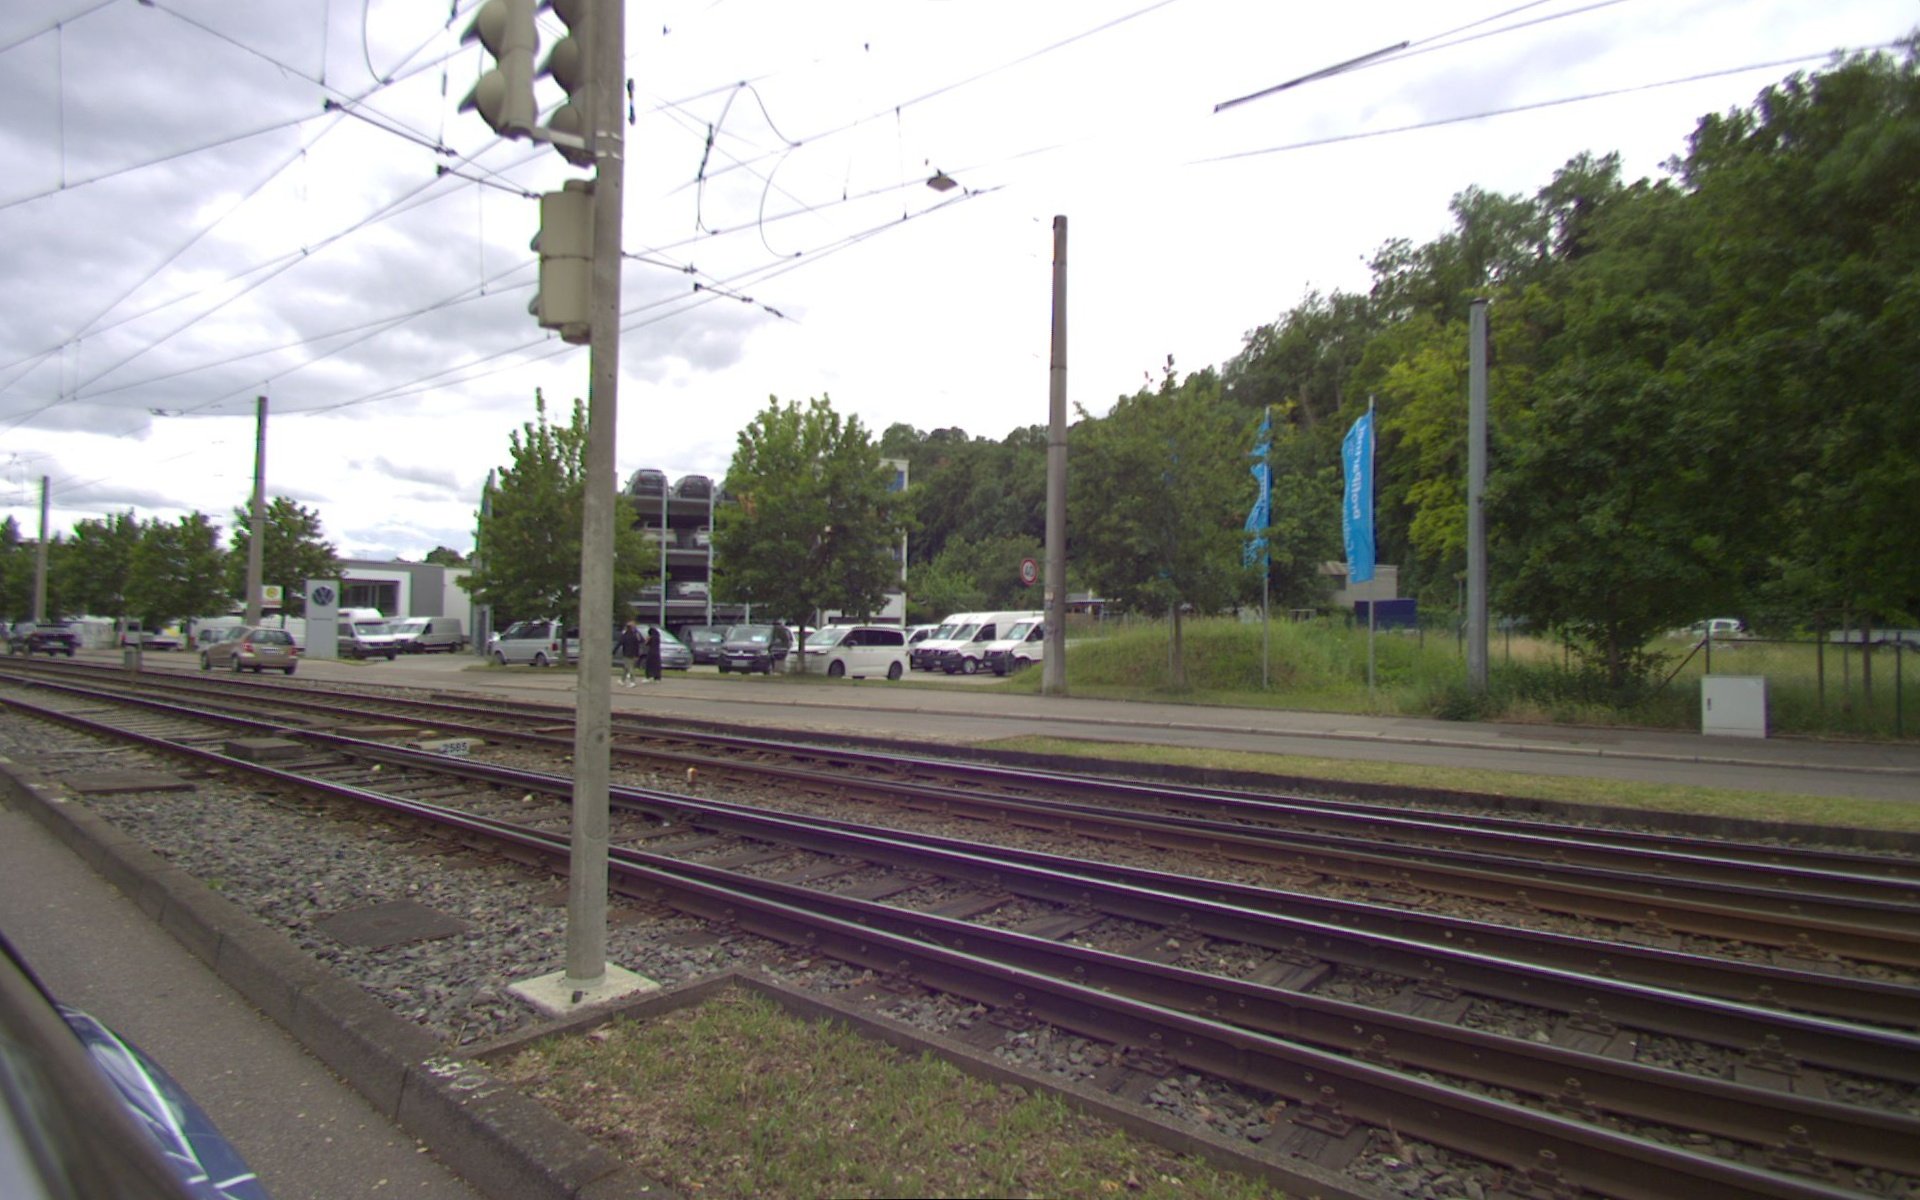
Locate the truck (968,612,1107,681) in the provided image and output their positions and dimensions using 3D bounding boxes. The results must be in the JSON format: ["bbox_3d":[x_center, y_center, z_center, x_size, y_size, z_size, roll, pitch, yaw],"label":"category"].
[{"bbox_3d":[3.090,1.864,40.487,4.984,2.608,2.476,1,-3,-24],"label":"truck"}]

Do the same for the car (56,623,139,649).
[{"bbox_3d":[-64.193,2.662,75.364,2.000,1.859,4.327,-2,-3,35],"label":"car"}]

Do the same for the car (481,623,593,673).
[{"bbox_3d":[-18.122,2.013,43.272,4.904,2.029,1.978,-1,-3,33],"label":"car"}]

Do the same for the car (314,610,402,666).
[{"bbox_3d":[-34.071,2.151,57.222,5.926,3.042,2.088,-2,-3,37],"label":"car"}]

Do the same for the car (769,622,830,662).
[{"bbox_3d":[-8.533,2.225,53.408,1.965,2.028,4.482,1,-3,-26],"label":"car"}]

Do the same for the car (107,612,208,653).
[{"bbox_3d":[-54.458,2.215,68.784,2.107,2.719,4.930,-1,-3,30],"label":"car"}]

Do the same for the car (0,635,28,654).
[{"bbox_3d":[-83.884,3.860,87.953,1.996,1.630,3.951,-2,-3,36],"label":"car"}]

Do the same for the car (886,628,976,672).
[{"bbox_3d":[-1.378,2.384,48.793,3.935,2.029,2.004,2,-3,-38],"label":"car"}]

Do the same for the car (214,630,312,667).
[{"bbox_3d":[-41.558,2.876,60.444,1.996,2.121,4.334,-1,-3,30],"label":"car"}]

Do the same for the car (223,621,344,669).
[{"bbox_3d":[-39.370,2.606,59.030,2.241,2.622,5.426,-1,-3,34],"label":"car"}]

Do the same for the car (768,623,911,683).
[{"bbox_3d":[-4.042,1.788,34.887,2.161,1.902,5.014,-1,-2,34],"label":"car"}]

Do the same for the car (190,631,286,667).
[{"bbox_3d":[-43.937,2.973,61.661,1.996,2.121,4.334,-1,-3,30],"label":"car"}]

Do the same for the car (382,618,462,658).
[{"bbox_3d":[-37.316,2.634,70.459,1.979,2.622,5.943,0,-2,5],"label":"car"}]

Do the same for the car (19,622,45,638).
[{"bbox_3d":[-120.797,3.952,131.730,1.967,2.029,4.009,2,-3,-36],"label":"car"}]

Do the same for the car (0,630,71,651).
[{"bbox_3d":[-74.890,3.267,81.695,1.998,1.630,4.331,-1,-3,32],"label":"car"}]

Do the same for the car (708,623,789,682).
[{"bbox_3d":[-7.746,1.933,37.515,2.135,2.029,5.074,0,-2,-2],"label":"car"}]

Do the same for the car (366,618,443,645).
[{"bbox_3d":[-42.561,2.453,77.643,1.996,2.029,4.799,-1,-3,36],"label":"car"}]

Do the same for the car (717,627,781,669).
[{"bbox_3d":[-10.885,2.455,52.067,1.965,2.028,4.481,2,-3,-29],"label":"car"}]

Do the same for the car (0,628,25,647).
[{"bbox_3d":[-87.060,3.368,90.947,2.059,1.630,4.141,-2,-3,36],"label":"car"}]

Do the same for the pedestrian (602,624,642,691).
[{"bbox_3d":[-9.500,1.611,28.452,0.854,1.827,0.670,-2,-1,37],"label":"pedestrian"}]

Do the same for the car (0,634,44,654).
[{"bbox_3d":[-81.478,3.777,86.854,1.996,1.630,3.951,-2,-3,36],"label":"car"}]

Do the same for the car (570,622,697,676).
[{"bbox_3d":[-12.871,1.909,39.827,5.115,2.029,1.977,-1,-3,33],"label":"car"}]

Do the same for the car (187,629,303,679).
[{"bbox_3d":[-24.258,1.822,34.288,4.248,1.544,1.873,-2,-6,36],"label":"car"}]

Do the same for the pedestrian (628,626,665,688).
[{"bbox_3d":[-9.051,1.637,29.221,0.854,1.726,0.622,-2,-1,37],"label":"pedestrian"}]

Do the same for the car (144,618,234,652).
[{"bbox_3d":[-51.745,2.349,68.014,1.996,2.189,4.334,-1,-3,30],"label":"car"}]

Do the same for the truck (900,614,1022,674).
[{"bbox_3d":[0.065,1.996,46.034,4.985,2.608,2.476,2,-3,-31],"label":"truck"}]

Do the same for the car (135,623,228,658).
[{"bbox_3d":[-50.307,2.594,65.455,1.996,2.189,4.334,-1,-3,30],"label":"car"}]

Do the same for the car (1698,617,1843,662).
[{"bbox_3d":[31.997,1.556,40.098,1.965,1.674,4.012,1,-2,-19],"label":"car"}]

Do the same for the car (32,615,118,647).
[{"bbox_3d":[-66.466,2.335,76.086,2.120,2.329,4.457,-2,-3,35],"label":"car"}]

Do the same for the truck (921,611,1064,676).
[{"bbox_3d":[1.427,1.870,43.188,5.679,2.608,2.476,2,-3,-31],"label":"truck"}]

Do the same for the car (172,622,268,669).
[{"bbox_3d":[-45.939,2.823,62.909,1.996,2.841,4.334,-1,-3,30],"label":"car"}]

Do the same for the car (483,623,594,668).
[{"bbox_3d":[-20.026,2.169,48.089,4.649,2.029,2.006,2,-3,-28],"label":"car"}]

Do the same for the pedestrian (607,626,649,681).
[{"bbox_3d":[-10.354,1.660,31.571,1.037,1.668,0.714,-2,-1,27],"label":"pedestrian"}]

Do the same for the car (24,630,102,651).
[{"bbox_3d":[-71.951,3.252,81.217,2.000,1.699,4.327,-2,-3,35],"label":"car"}]

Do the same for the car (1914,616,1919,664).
[{"bbox_3d":[34.710,1.342,33.539,1.965,1.674,4.012,1,-2,-19],"label":"car"}]

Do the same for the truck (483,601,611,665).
[{"bbox_3d":[-20.933,1.716,51.334,5.835,3.108,2.126,1,-3,-26],"label":"truck"}]

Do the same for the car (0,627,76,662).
[{"bbox_3d":[-43.266,2.085,47.469,4.246,1.544,1.672,-1,-6,35],"label":"car"}]
